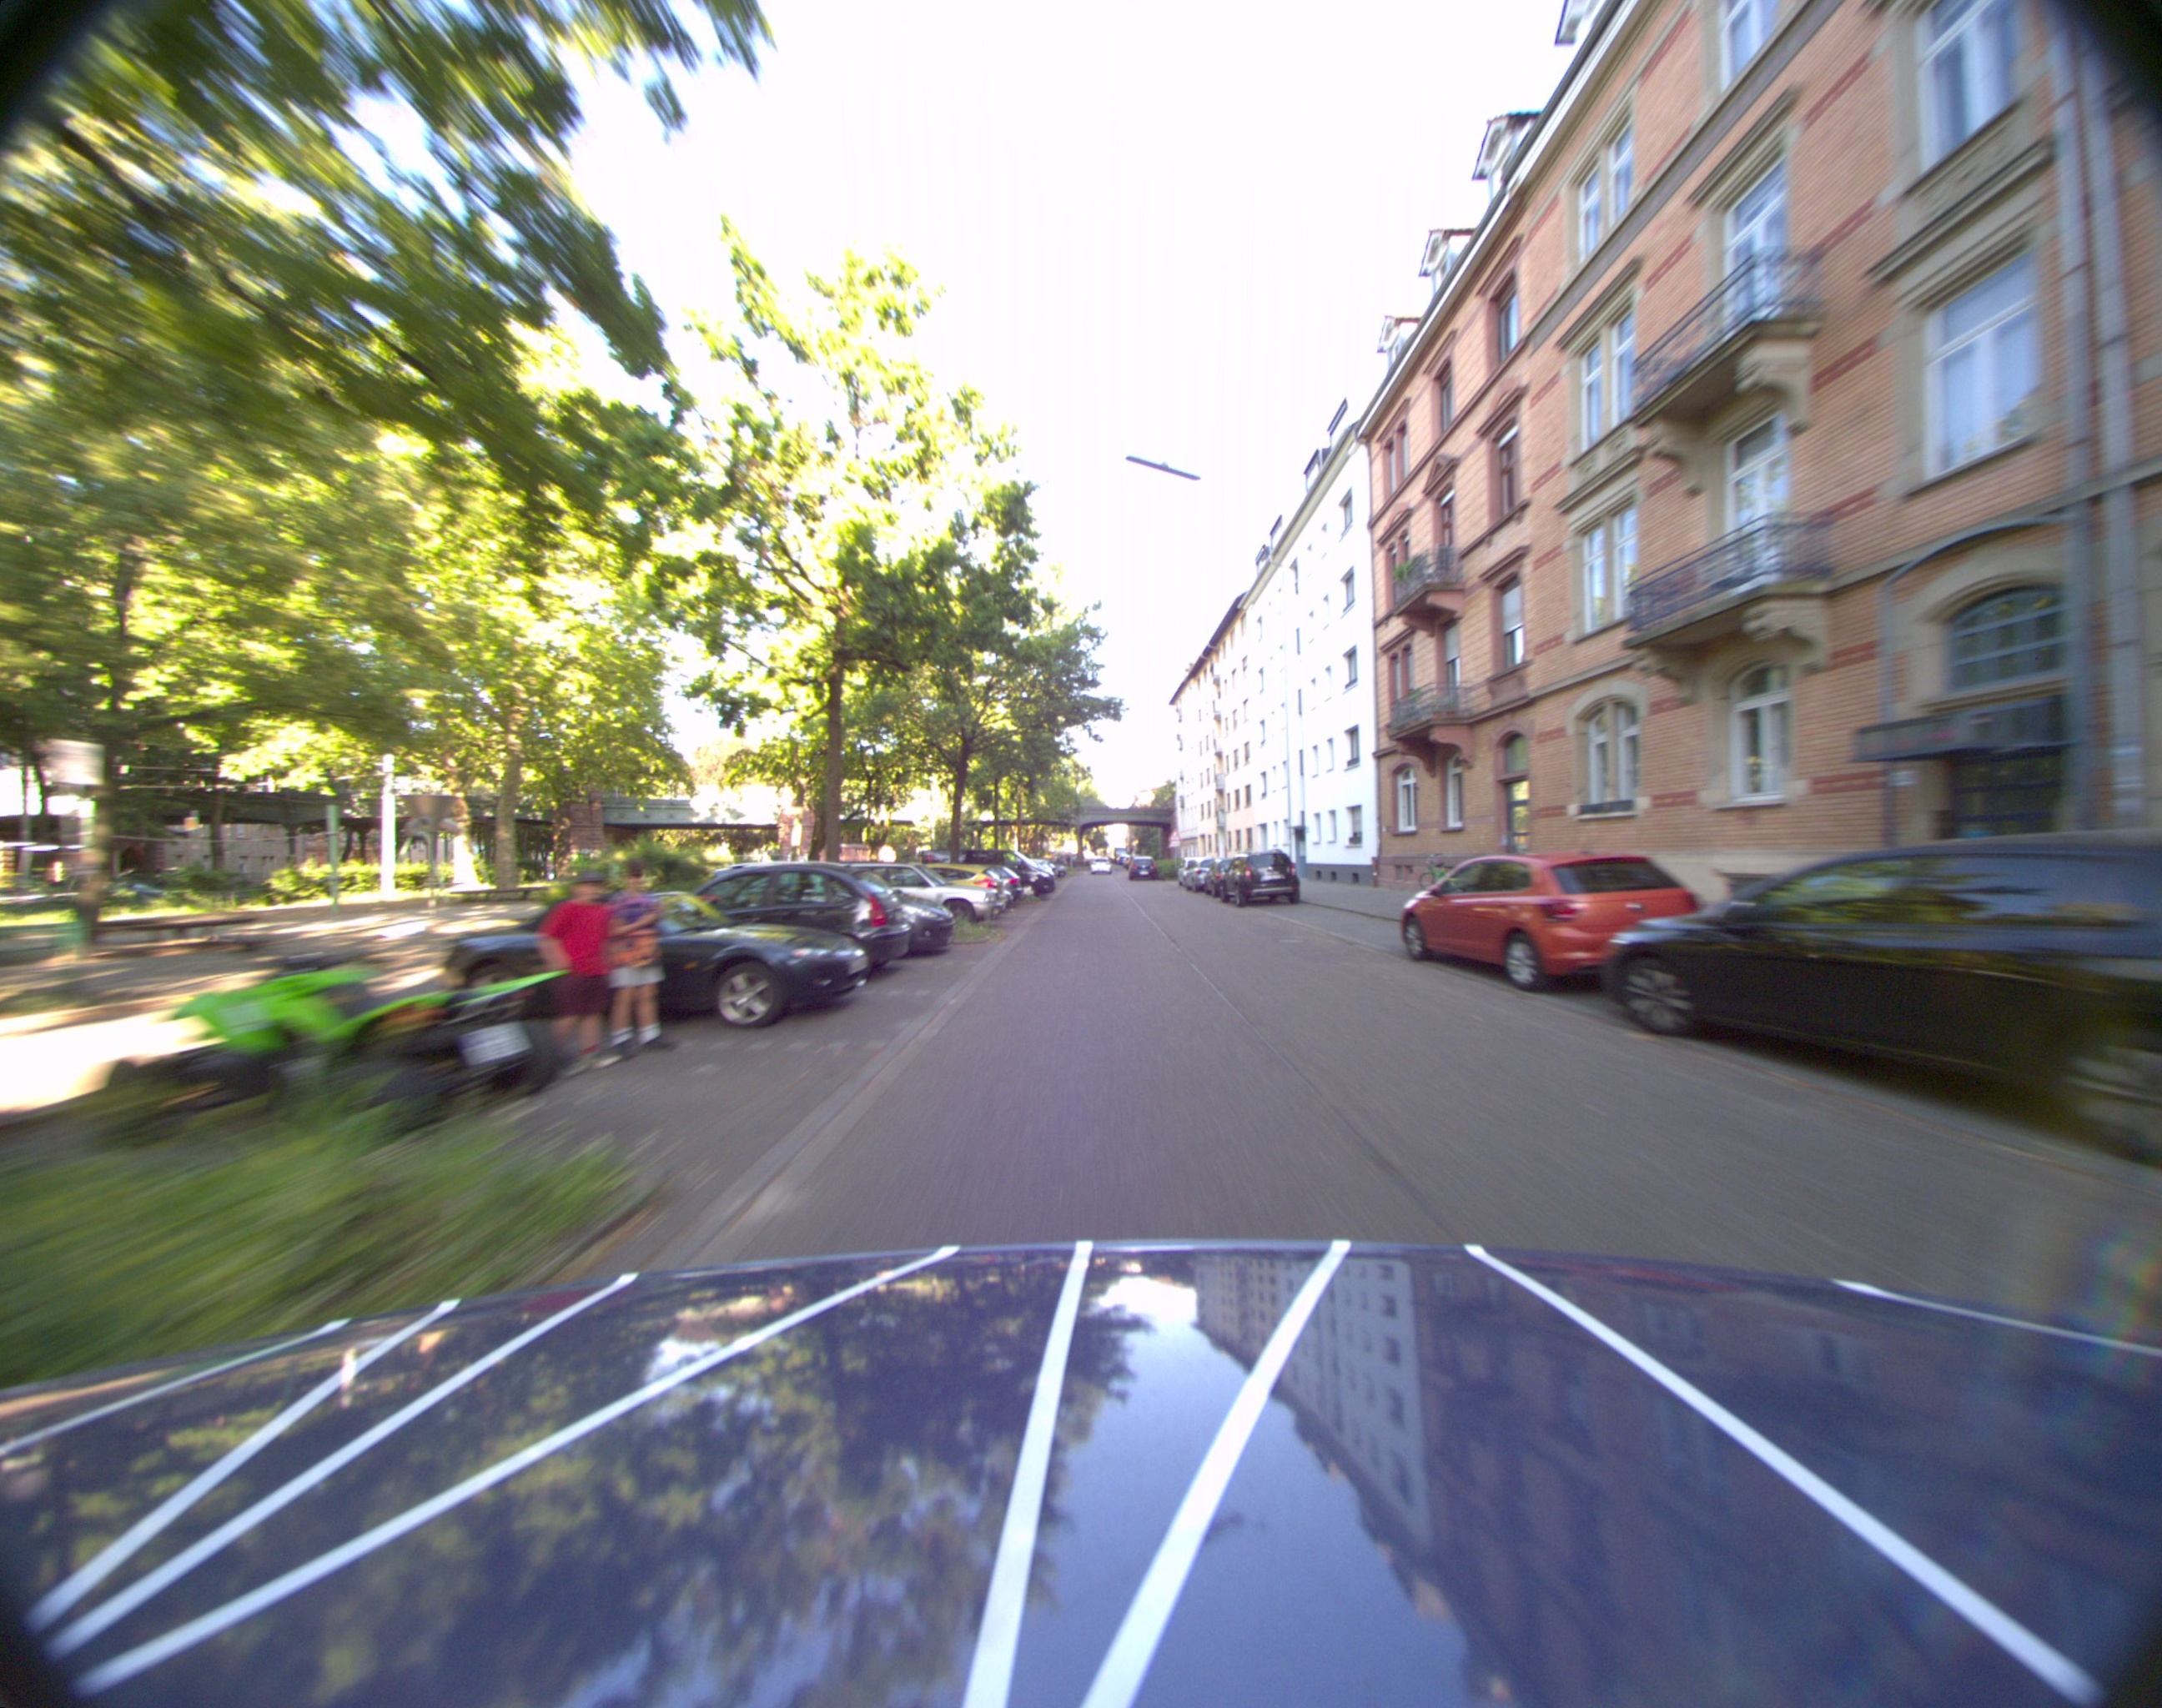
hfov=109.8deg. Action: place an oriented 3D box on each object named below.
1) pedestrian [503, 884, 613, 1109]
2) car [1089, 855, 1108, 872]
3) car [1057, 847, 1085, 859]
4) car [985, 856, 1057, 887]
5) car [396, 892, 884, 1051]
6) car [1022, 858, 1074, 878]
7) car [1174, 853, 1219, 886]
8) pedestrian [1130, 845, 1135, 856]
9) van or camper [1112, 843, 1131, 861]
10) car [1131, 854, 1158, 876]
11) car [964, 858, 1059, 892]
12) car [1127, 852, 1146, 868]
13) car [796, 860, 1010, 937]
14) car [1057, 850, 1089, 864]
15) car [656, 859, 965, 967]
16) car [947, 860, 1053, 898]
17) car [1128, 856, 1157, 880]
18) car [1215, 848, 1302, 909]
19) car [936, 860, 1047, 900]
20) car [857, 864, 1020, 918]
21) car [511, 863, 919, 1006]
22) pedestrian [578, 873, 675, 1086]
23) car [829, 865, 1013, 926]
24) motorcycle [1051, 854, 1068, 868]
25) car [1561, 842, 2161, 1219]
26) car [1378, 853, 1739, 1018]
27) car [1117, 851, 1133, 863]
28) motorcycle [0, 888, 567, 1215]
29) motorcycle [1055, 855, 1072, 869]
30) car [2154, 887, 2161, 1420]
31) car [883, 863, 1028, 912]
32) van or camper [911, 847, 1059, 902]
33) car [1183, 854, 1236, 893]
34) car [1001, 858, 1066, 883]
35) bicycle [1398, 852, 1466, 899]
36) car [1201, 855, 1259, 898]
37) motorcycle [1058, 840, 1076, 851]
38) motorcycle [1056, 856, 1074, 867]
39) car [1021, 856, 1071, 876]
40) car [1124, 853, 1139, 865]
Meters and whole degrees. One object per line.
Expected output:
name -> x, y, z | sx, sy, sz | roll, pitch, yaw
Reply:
pedestrian -> -3.735, 0.976, 5.442 | 0.380, 1.507, 0.520 | -2, -2, 20
car -> 1.554, 0.859, 67.134 | 1.672, 1.422, 4.001 | 1, -1, 2
car -> -1.696, -0.225, 128.005 | 4.683, 1.914, 1.872 | 1, 2, -1
car -> -3.304, 0.954, 42.380 | 3.791, 1.637, 1.664 | -1, 2, 2
car -> -4.127, 1.084, 7.573 | 3.852, 1.271, 1.690 | -1, 0, 0
car -> -2.493, 1.052, 57.546 | 3.791, 1.393, 1.827 | -1, 2, 2
car -> 5.885, 0.766, 39.119 | 1.672, 1.499, 4.000 | -5, 0, 1
pedestrian -> 8.828, -0.619, 130.081 | 0.639, 1.903, 1.046 | -3, 2, -5
van or camper -> 6.098, -0.347, 116.111 | 2.242, 2.509, 6.418 | -3, 2, -2
car -> 4.544, 0.769, 54.815 | 1.707, 1.516, 3.773 | -1, 0, 1
car -> -3.393, 1.029, 37.655 | 4.408, 1.568, 1.664 | -1, 2, 6
car -> 6.181, 0.632, 84.417 | 1.721, 1.698, 4.322 | -1, 1, -1
car -> -3.929, 0.971, 17.344 | 4.410, 1.582, 1.837 | -1, 1, 1
car -> -1.159, 0.426, 110.710 | 4.544, 1.686, 1.907 | -3, 2, -1
car -> -4.308, 0.914, 12.574 | 4.410, 1.582, 1.838 | -1, 1, 2
car -> -3.560, 1.106, 33.871 | 4.409, 1.568, 1.664 | -1, 2, 3
car -> 3.958, 0.855, 49.437 | 1.743, 1.470, 4.001 | 0, 0, 3
car -> 5.494, 0.712, 24.081 | 1.756, 1.696, 4.200 | -3, 0, 1
car -> -3.649, 1.049, 31.593 | 4.411, 1.492, 1.837 | -1, 2, -2
car -> -4.153, 1.068, 22.548 | 4.409, 1.432, 1.838 | -1, 1, 3
car -> -4.518, 0.955, 9.977 | 4.412, 1.582, 1.837 | -1, 1, -3
pedestrian -> -3.539, 0.939, 5.934 | 0.380, 1.575, 0.520 | -2, -2, 20
car -> -4.137, 1.066, 20.108 | 4.409, 1.432, 1.838 | -1, 1, 3
motorcycle -> -2.312, 0.763, 81.009 | 1.601, 1.400, 0.713 | -2, 2, 21
car -> 5.334, 0.746, 4.734 | 1.752, 1.537, 4.149 | -3, 0, -5
car -> 5.329, 0.781, 9.226 | 1.758, 1.455, 4.000 | -4, 0, -1
car -> 6.381, 0.431, 110.001 | 1.749, 1.458, 4.373 | -3, 2, -2
motorcycle -> -4.341, 1.005, 4.333 | 1.865, 1.454, 1.263 | -3, 2, 2
motorcycle -> -1.929, 0.864, 81.917 | 1.601, 1.400, 0.713 | -2, 2, 21
car -> 3.584, 0.795, 0.638 | 1.508, 1.426, 2.753 | 0, 0, 2
car -> -4.031, 1.069, 24.945 | 4.410, 1.432, 1.837 | -1, 1, 0
van or camper -> -3.650, 0.777, 29.688 | 5.426, 2.015, 2.030 | -1, 0, 3
car -> 5.674, 0.815, 34.019 | 1.672, 1.462, 4.284 | -5, 0, 2
car -> -2.943, 1.018, 47.754 | 3.789, 1.439, 1.664 | -1, 2, 7
bicycle -> 9.660, 0.581, 21.042 | 0.738, 1.199, 2.514 | -3, -1, 2
car -> 5.710, 0.825, 29.456 | 1.619, 1.443, 4.001 | -3, 0, 3
motorcycle -> -1.652, -1.047, 91.875 | 1.938, 1.231, 0.903 | -3, 2, -24
motorcycle -> -1.790, 0.871, 86.211 | 1.839, 1.126, 0.849 | -3, 2, -22
car -> -2.740, 0.956, 59.783 | 3.792, 1.464, 1.634 | -1, 2, -3
car -> 6.643, 0.641, 100.250 | 1.599, 1.538, 3.914 | 0, 1, -2
